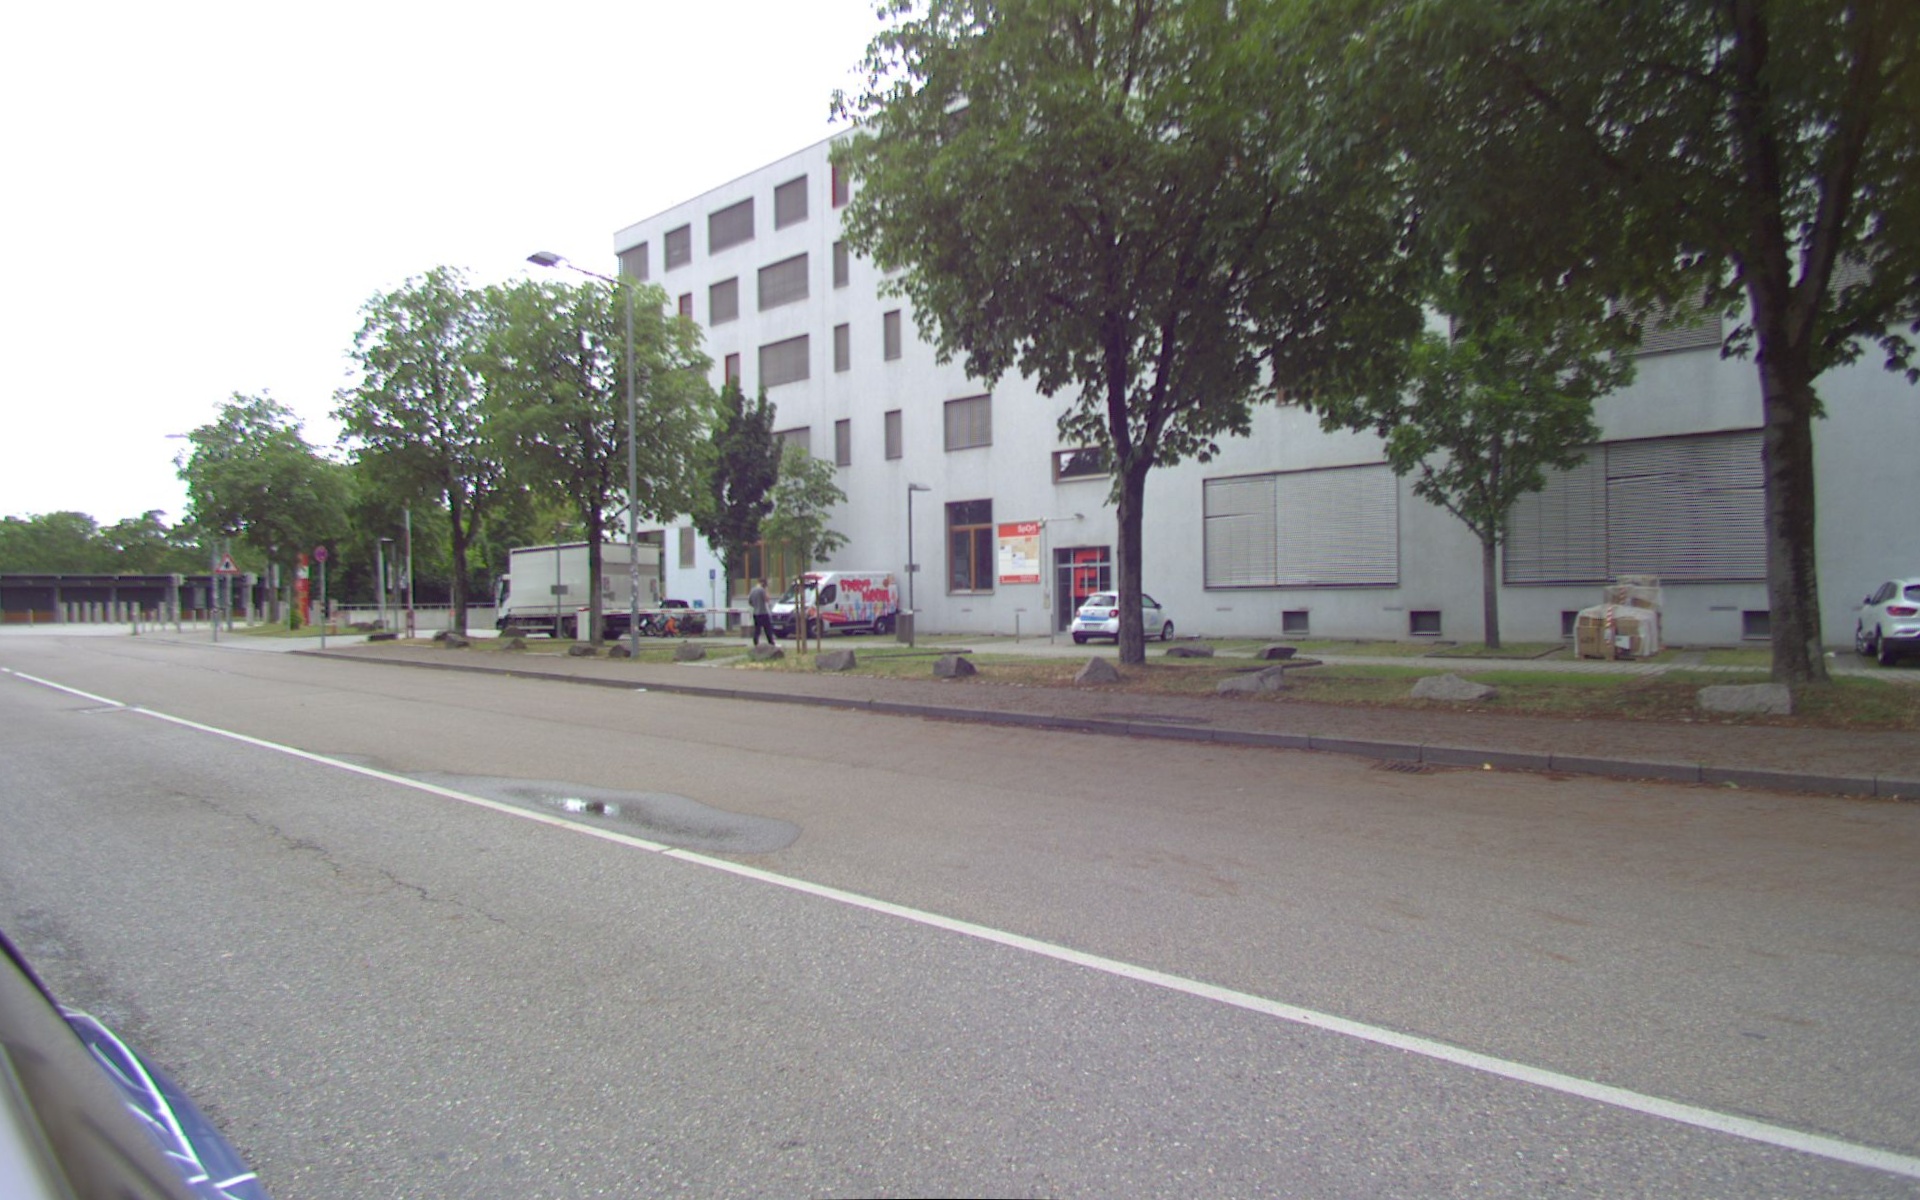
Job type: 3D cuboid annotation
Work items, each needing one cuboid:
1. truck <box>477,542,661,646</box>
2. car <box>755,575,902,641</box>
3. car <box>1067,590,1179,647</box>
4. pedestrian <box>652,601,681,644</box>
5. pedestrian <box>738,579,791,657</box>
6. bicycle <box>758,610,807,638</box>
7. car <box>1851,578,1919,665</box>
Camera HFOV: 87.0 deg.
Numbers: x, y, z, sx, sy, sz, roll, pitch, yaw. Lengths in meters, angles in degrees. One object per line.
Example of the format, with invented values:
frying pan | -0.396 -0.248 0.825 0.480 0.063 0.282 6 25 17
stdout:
truck | -15.124 -0.263 38.796 8.354 3.627 2.651 0 1 38
car | -4.851 0.234 38.082 2.078 2.296 5.569 0 1 40
car | 4.861 0.493 29.914 1.691 1.511 3.575 0 1 40
pedestrian | -11.400 0.851 39.310 0.885 1.618 0.672 0 1 34
pedestrian | -4.347 0.379 22.500 0.785 1.684 0.836 0 1 35
bicycle | -7.254 0.962 41.436 0.614 1.078 2.002 0 2 44
car | 17.934 0.330 18.653 1.896 1.467 3.963 0 1 36
